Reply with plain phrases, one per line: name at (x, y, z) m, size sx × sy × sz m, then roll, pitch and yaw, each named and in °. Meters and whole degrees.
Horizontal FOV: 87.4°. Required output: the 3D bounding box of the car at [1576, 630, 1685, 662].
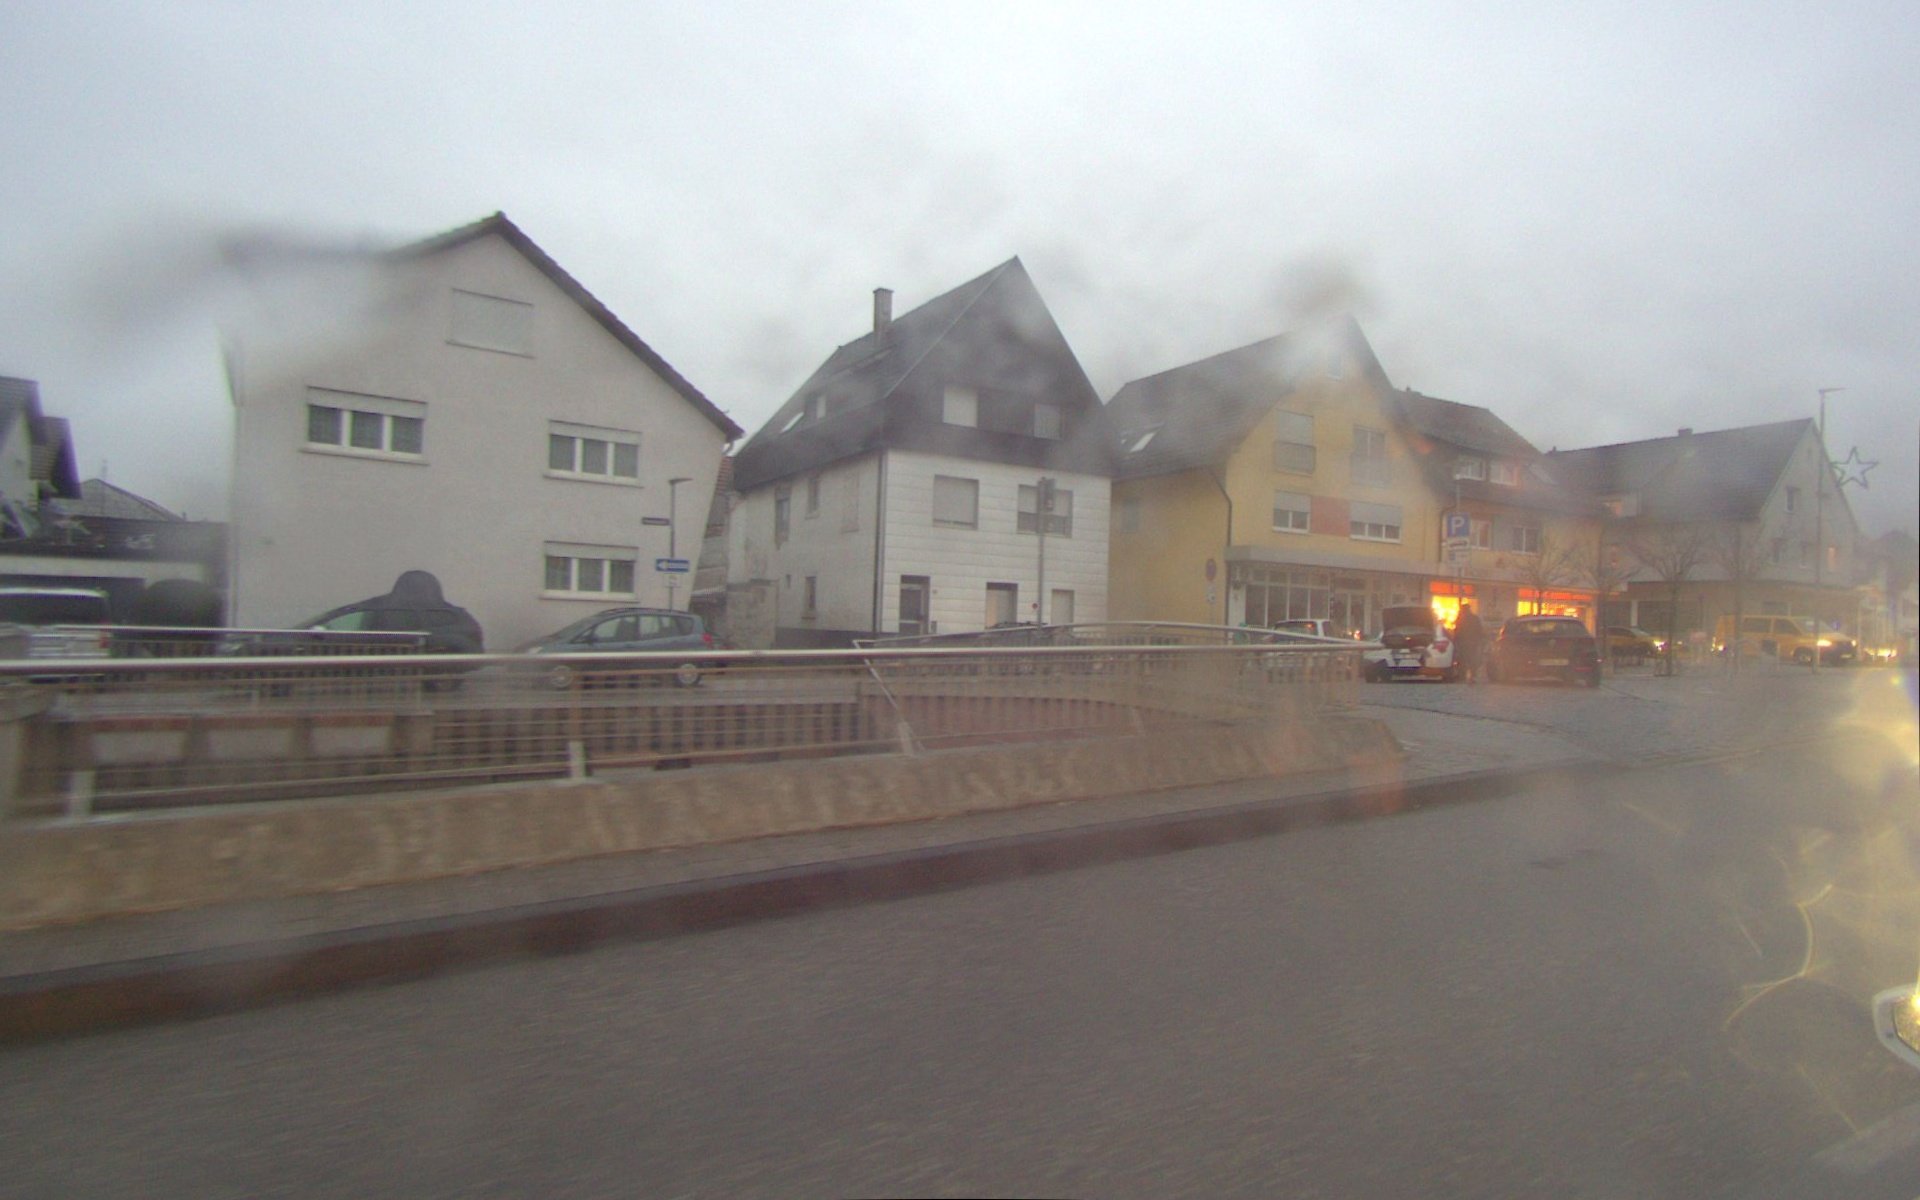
car at (31.563, 2.148, 47.394) m, size 1.709 × 1.383 × 3.963 m, roll 1°, pitch -1°, yaw -33°

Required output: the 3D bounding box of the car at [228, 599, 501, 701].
car at (-11.008, 0.874, 18.688) m, size 4.178 × 1.705 × 1.897 m, roll 1°, pitch -1°, yaw -37°

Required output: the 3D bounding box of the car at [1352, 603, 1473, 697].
car at (10.553, 1.089, 23.265) m, size 2.009 × 1.951 × 4.046 m, roll 0°, pitch -1°, yaw 33°

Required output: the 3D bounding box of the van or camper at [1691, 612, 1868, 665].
van or camper at (33.438, 1.518, 41.252) m, size 1.967 × 1.980 × 5.531 m, roll 1°, pitch -1°, yaw -15°

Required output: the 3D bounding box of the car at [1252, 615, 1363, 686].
car at (8.955, 1.232, 25.689) m, size 1.796 × 1.634 × 4.046 m, roll 0°, pitch -1°, yaw 33°

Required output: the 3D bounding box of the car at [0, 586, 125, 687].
car at (-17.135, 0.671, 19.039) m, size 1.848 × 1.716 × 3.957 m, roll 1°, pitch -2°, yaw -38°

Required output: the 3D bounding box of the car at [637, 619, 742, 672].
car at (-8.096, 1.306, 29.832) m, size 1.824 × 1.432 × 3.962 m, roll 1°, pitch -1°, yaw -34°

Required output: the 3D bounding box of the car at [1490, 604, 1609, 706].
car at (12.704, 1.107, 21.562) m, size 2.009 × 1.951 × 4.046 m, roll 0°, pitch -1°, yaw 33°

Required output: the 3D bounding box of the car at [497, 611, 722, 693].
car at (-7.378, 1.048, 21.251) m, size 4.173 × 1.583 × 1.899 m, roll 1°, pitch -1°, yaw -34°

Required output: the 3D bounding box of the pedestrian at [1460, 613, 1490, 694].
pedestrian at (11.277, 1.160, 21.978) m, size 0.489 × 1.724 × 0.711 m, roll -1°, pitch -2°, yaw 33°
